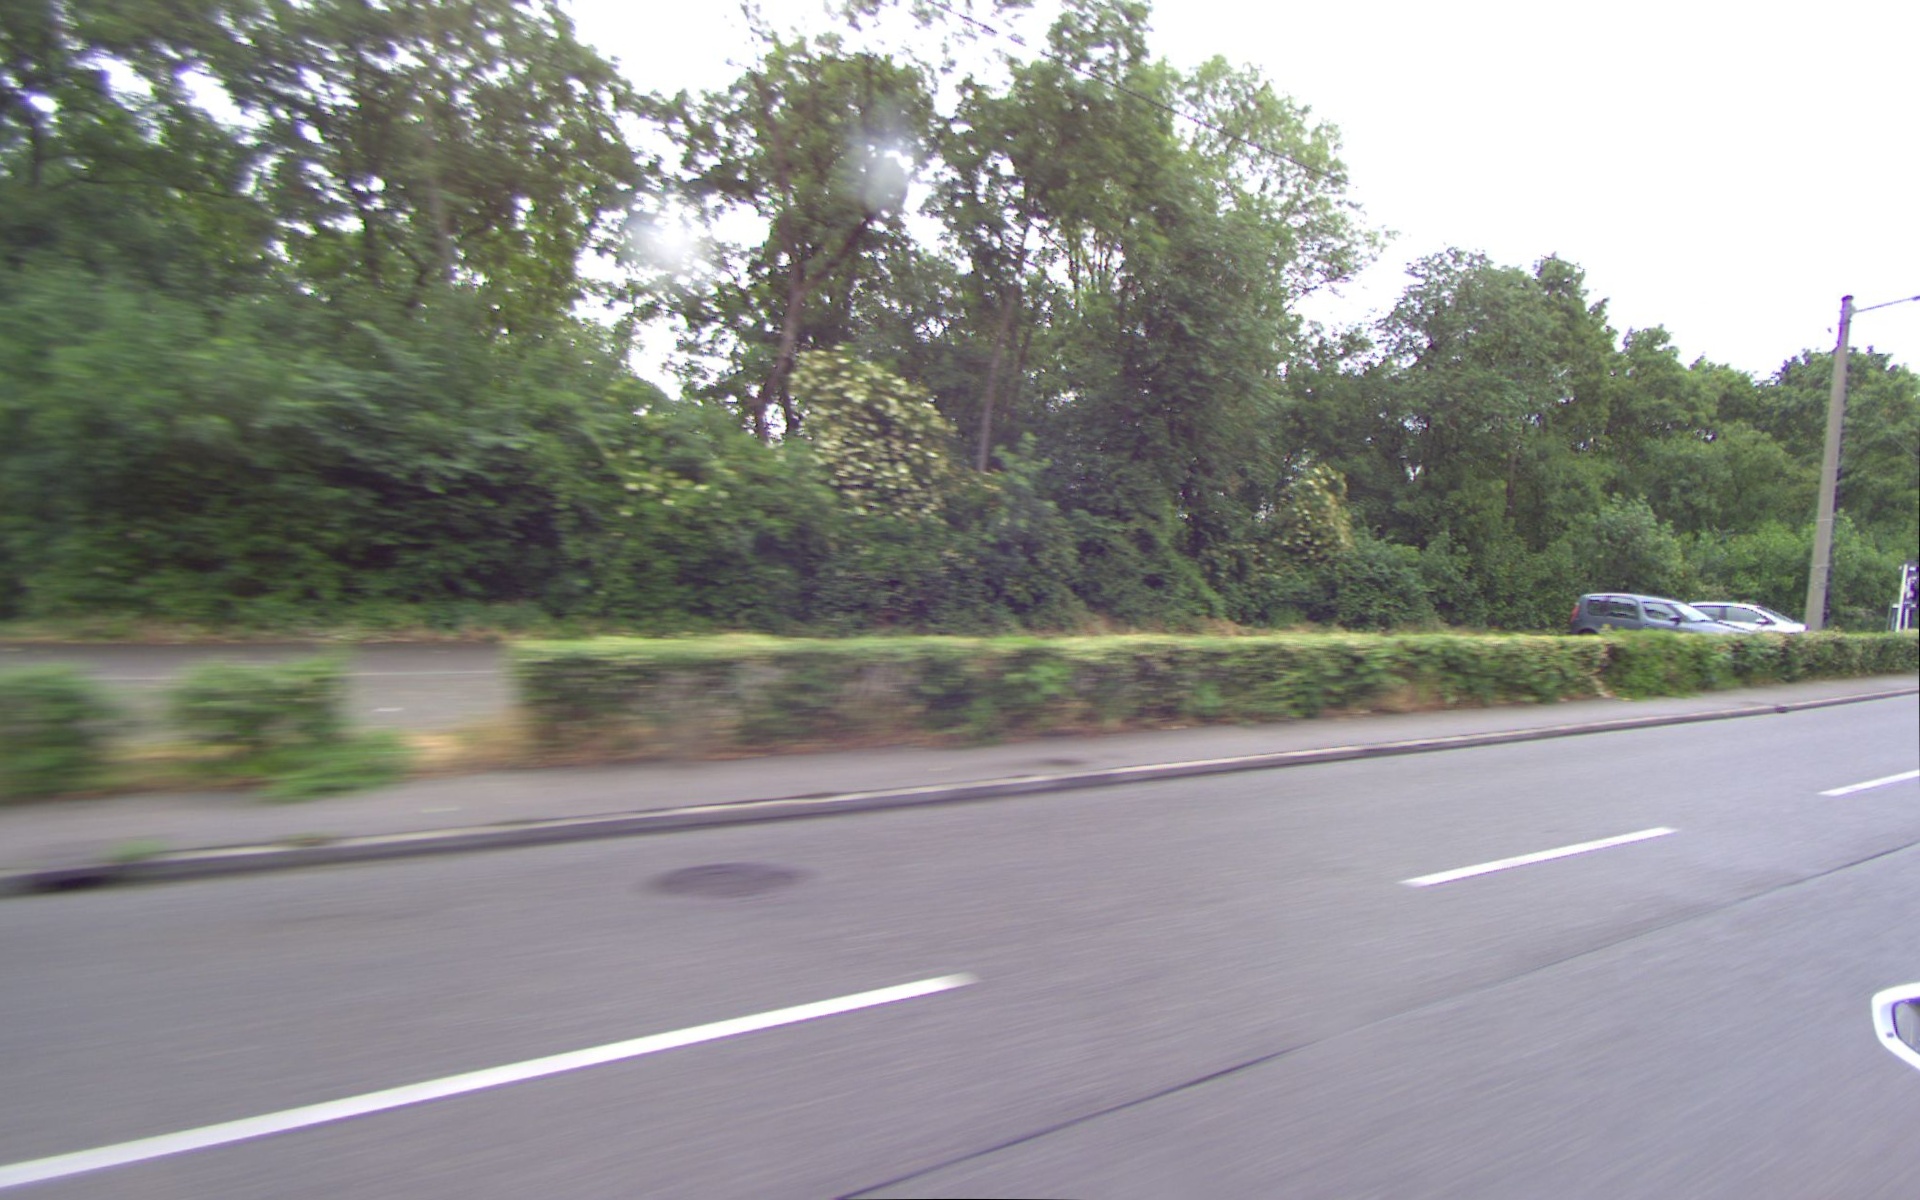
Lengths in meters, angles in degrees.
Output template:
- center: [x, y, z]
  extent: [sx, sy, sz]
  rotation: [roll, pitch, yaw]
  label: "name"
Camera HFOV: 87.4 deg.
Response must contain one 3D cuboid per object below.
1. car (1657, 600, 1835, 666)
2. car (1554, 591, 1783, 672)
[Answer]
- center: [22.346, 0.900, 28.664]
  extent: [1.835, 1.612, 3.617]
  rotation: [1, 1, -37]
  label: "car"
- center: [17.781, 0.731, 25.422]
  extent: [1.977, 1.731, 4.269]
  rotation: [1, 1, -30]
  label: "car"
